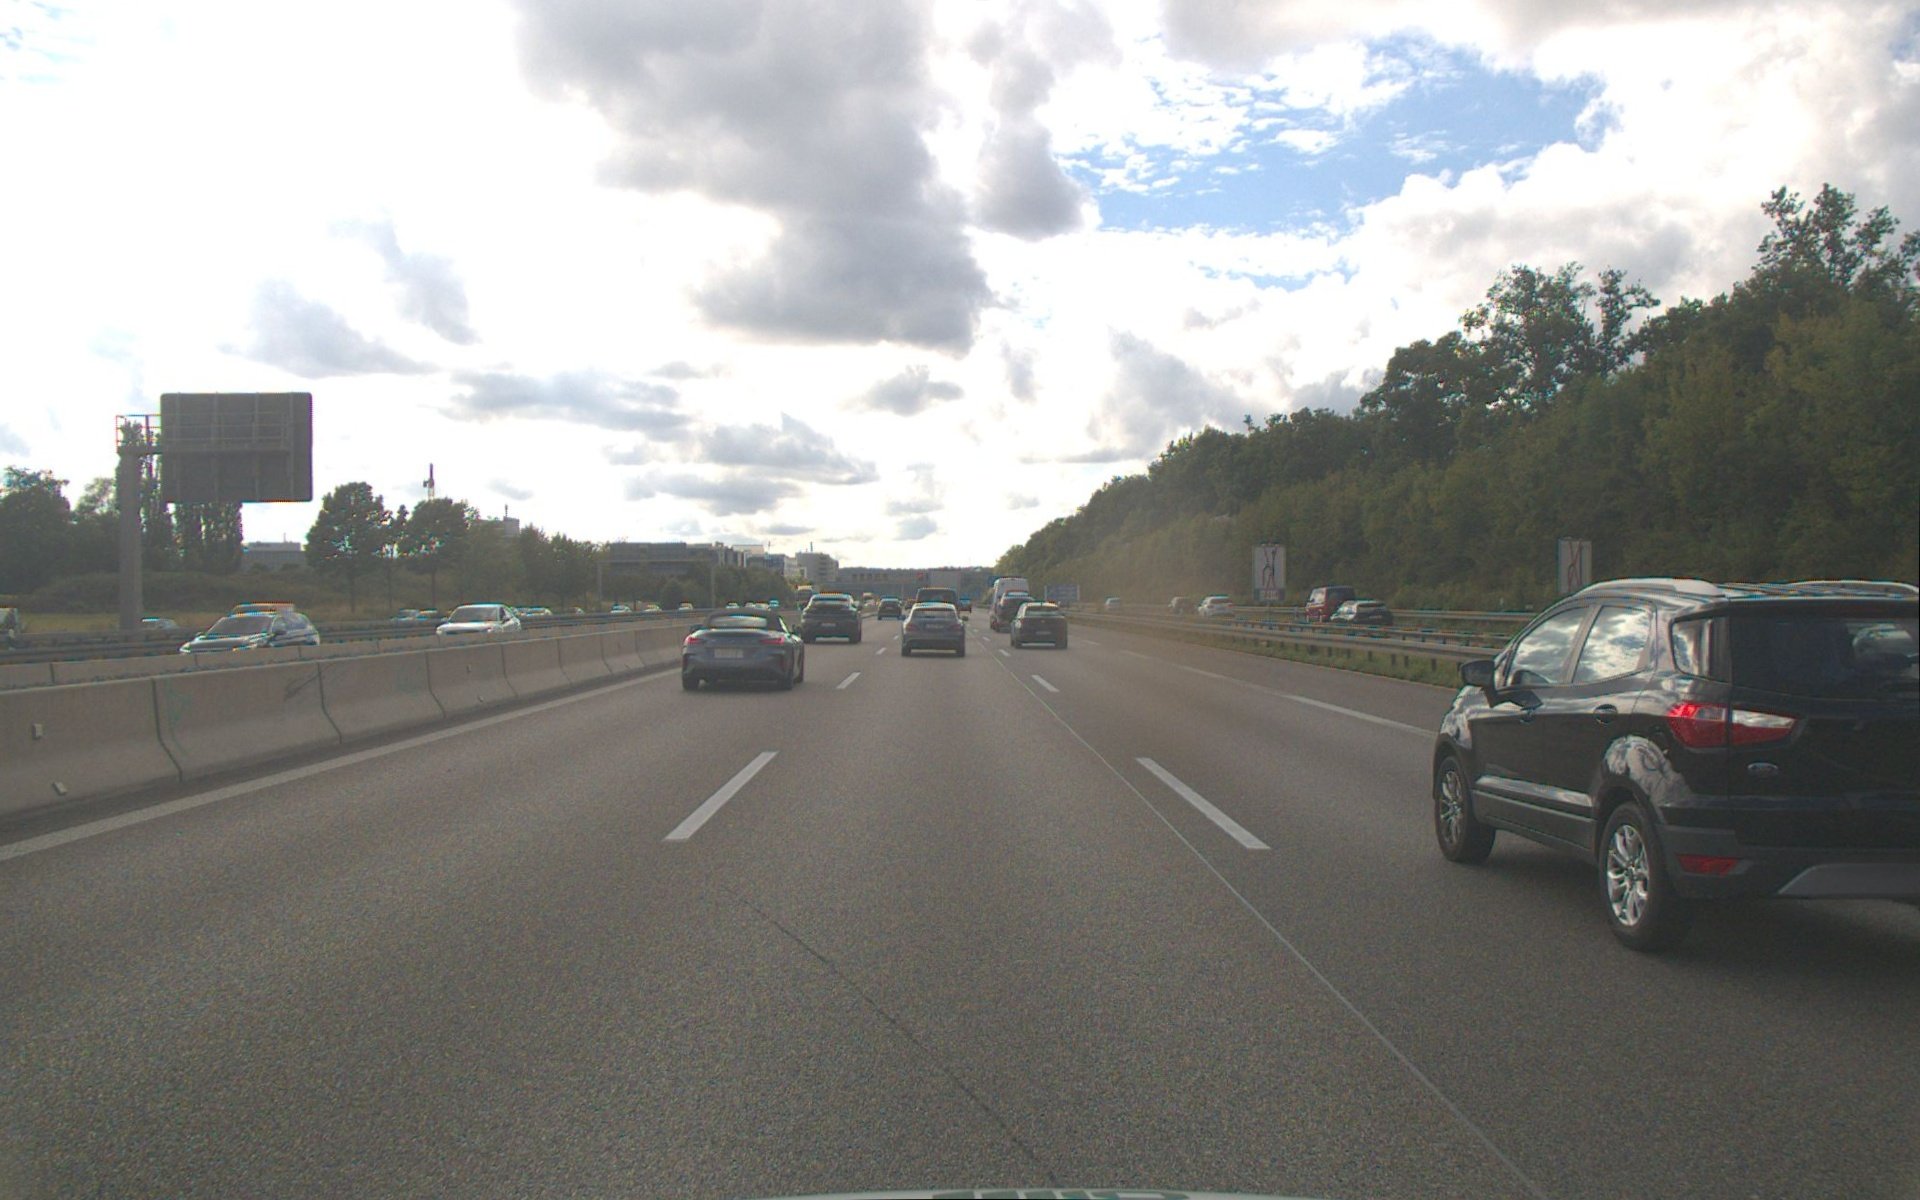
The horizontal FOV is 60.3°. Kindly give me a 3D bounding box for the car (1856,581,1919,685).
[{"bbox_3d":[16.640,0.520,26.812,1.809,1.679,4.305,-2,0,-1],"label":"car"}]

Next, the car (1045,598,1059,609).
[{"bbox_3d":[13.238,0.541,238.232,1.694,1.560,4.451,-1,0,-1],"label":"car"}]

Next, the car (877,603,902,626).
[{"bbox_3d":[-5.471,1.091,128.040,1.835,1.728,4.071,0,0,-1],"label":"car"}]

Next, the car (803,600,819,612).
[{"bbox_3d":[-22.690,0.885,251.926,2.260,1.808,5.061,0,0,-2],"label":"car"}]

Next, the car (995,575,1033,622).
[{"bbox_3d":[2.853,-0.077,87.888,1.835,2.399,4.281,0,0,-1],"label":"car"}]

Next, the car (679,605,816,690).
[{"bbox_3d":[-3.625,0.774,29.013,1.835,1.325,4.941,0,0,-1],"label":"car"}]

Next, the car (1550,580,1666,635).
[{"bbox_3d":[19.850,0.216,50.863,1.694,1.573,4.304,-2,0,-2],"label":"car"}]

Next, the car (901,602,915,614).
[{"bbox_3d":[-7.802,1.203,248.676,1.953,1.847,4.566,0,0,-1],"label":"car"}]

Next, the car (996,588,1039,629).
[{"bbox_3d":[2.788,0.411,80.720,1.874,1.952,4.029,0,0,-1],"label":"car"}]

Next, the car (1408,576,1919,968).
[{"bbox_3d":[3.815,0.696,8.801,1.663,1.592,4.112,0,0,-2],"label":"car"}]

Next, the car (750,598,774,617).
[{"bbox_3d":[-17.899,0.683,149.433,1.743,1.674,4.071,0,0,-1],"label":"car"}]

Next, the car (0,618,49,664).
[{"bbox_3d":[-37.083,1.558,62.827,1.953,1.730,5.632,0,0,-2],"label":"car"}]

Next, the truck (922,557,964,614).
[{"bbox_3d":[-1.425,-1.172,135.499,3.196,4.451,11.024,1,0,-1],"label":"truck"}]

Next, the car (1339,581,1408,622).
[{"bbox_3d":[16.484,0.065,66.147,1.563,1.573,4.188,0,0,-2],"label":"car"}]

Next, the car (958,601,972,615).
[{"bbox_3d":[0.591,1.049,212.847,1.716,1.725,4.189,0,0,-1],"label":"car"}]

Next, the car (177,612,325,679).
[{"bbox_3d":[-16.290,1.019,38.255,1.604,1.428,4.490,0,0,-2],"label":"car"}]

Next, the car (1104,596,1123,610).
[{"bbox_3d":[17.776,0.335,191.448,1.717,1.543,4.189,0,0,-2],"label":"car"}]

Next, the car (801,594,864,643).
[{"bbox_3d":[-4.454,0.619,58.528,1.873,1.664,5.499,0,0,-1],"label":"car"}]

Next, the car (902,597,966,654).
[{"bbox_3d":[-0.723,0.671,46.217,1.686,1.505,4.390,0,0,-1],"label":"car"}]

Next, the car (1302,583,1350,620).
[{"bbox_3d":[19.032,0.082,86.144,1.563,1.835,3.823,0,0,-2],"label":"car"}]

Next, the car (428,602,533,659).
[{"bbox_3d":[-13.888,0.857,48.176,1.727,1.559,4.716,0,0,-1],"label":"car"}]

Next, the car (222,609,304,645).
[{"bbox_3d":[-34.137,1.292,81.119,1.953,1.730,5.134,0,0,-1],"label":"car"}]

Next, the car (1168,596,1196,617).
[{"bbox_3d":[18.425,0.564,137.620,1.716,1.725,4.189,0,0,-1],"label":"car"}]

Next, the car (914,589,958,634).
[{"bbox_3d":[-0.956,0.437,66.226,1.686,1.754,4.390,0,0,-1],"label":"car"}]

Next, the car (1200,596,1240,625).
[{"bbox_3d":[16.165,0.633,102.969,1.716,1.725,4.189,0,0,-1],"label":"car"}]

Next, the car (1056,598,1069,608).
[{"bbox_3d":[16.057,0.416,258.868,1.717,1.543,4.189,0,0,-2],"label":"car"}]

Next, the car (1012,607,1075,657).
[{"bbox_3d":[2.730,1.033,54.657,1.795,1.547,4.224,0,0,-1],"label":"car"}]
